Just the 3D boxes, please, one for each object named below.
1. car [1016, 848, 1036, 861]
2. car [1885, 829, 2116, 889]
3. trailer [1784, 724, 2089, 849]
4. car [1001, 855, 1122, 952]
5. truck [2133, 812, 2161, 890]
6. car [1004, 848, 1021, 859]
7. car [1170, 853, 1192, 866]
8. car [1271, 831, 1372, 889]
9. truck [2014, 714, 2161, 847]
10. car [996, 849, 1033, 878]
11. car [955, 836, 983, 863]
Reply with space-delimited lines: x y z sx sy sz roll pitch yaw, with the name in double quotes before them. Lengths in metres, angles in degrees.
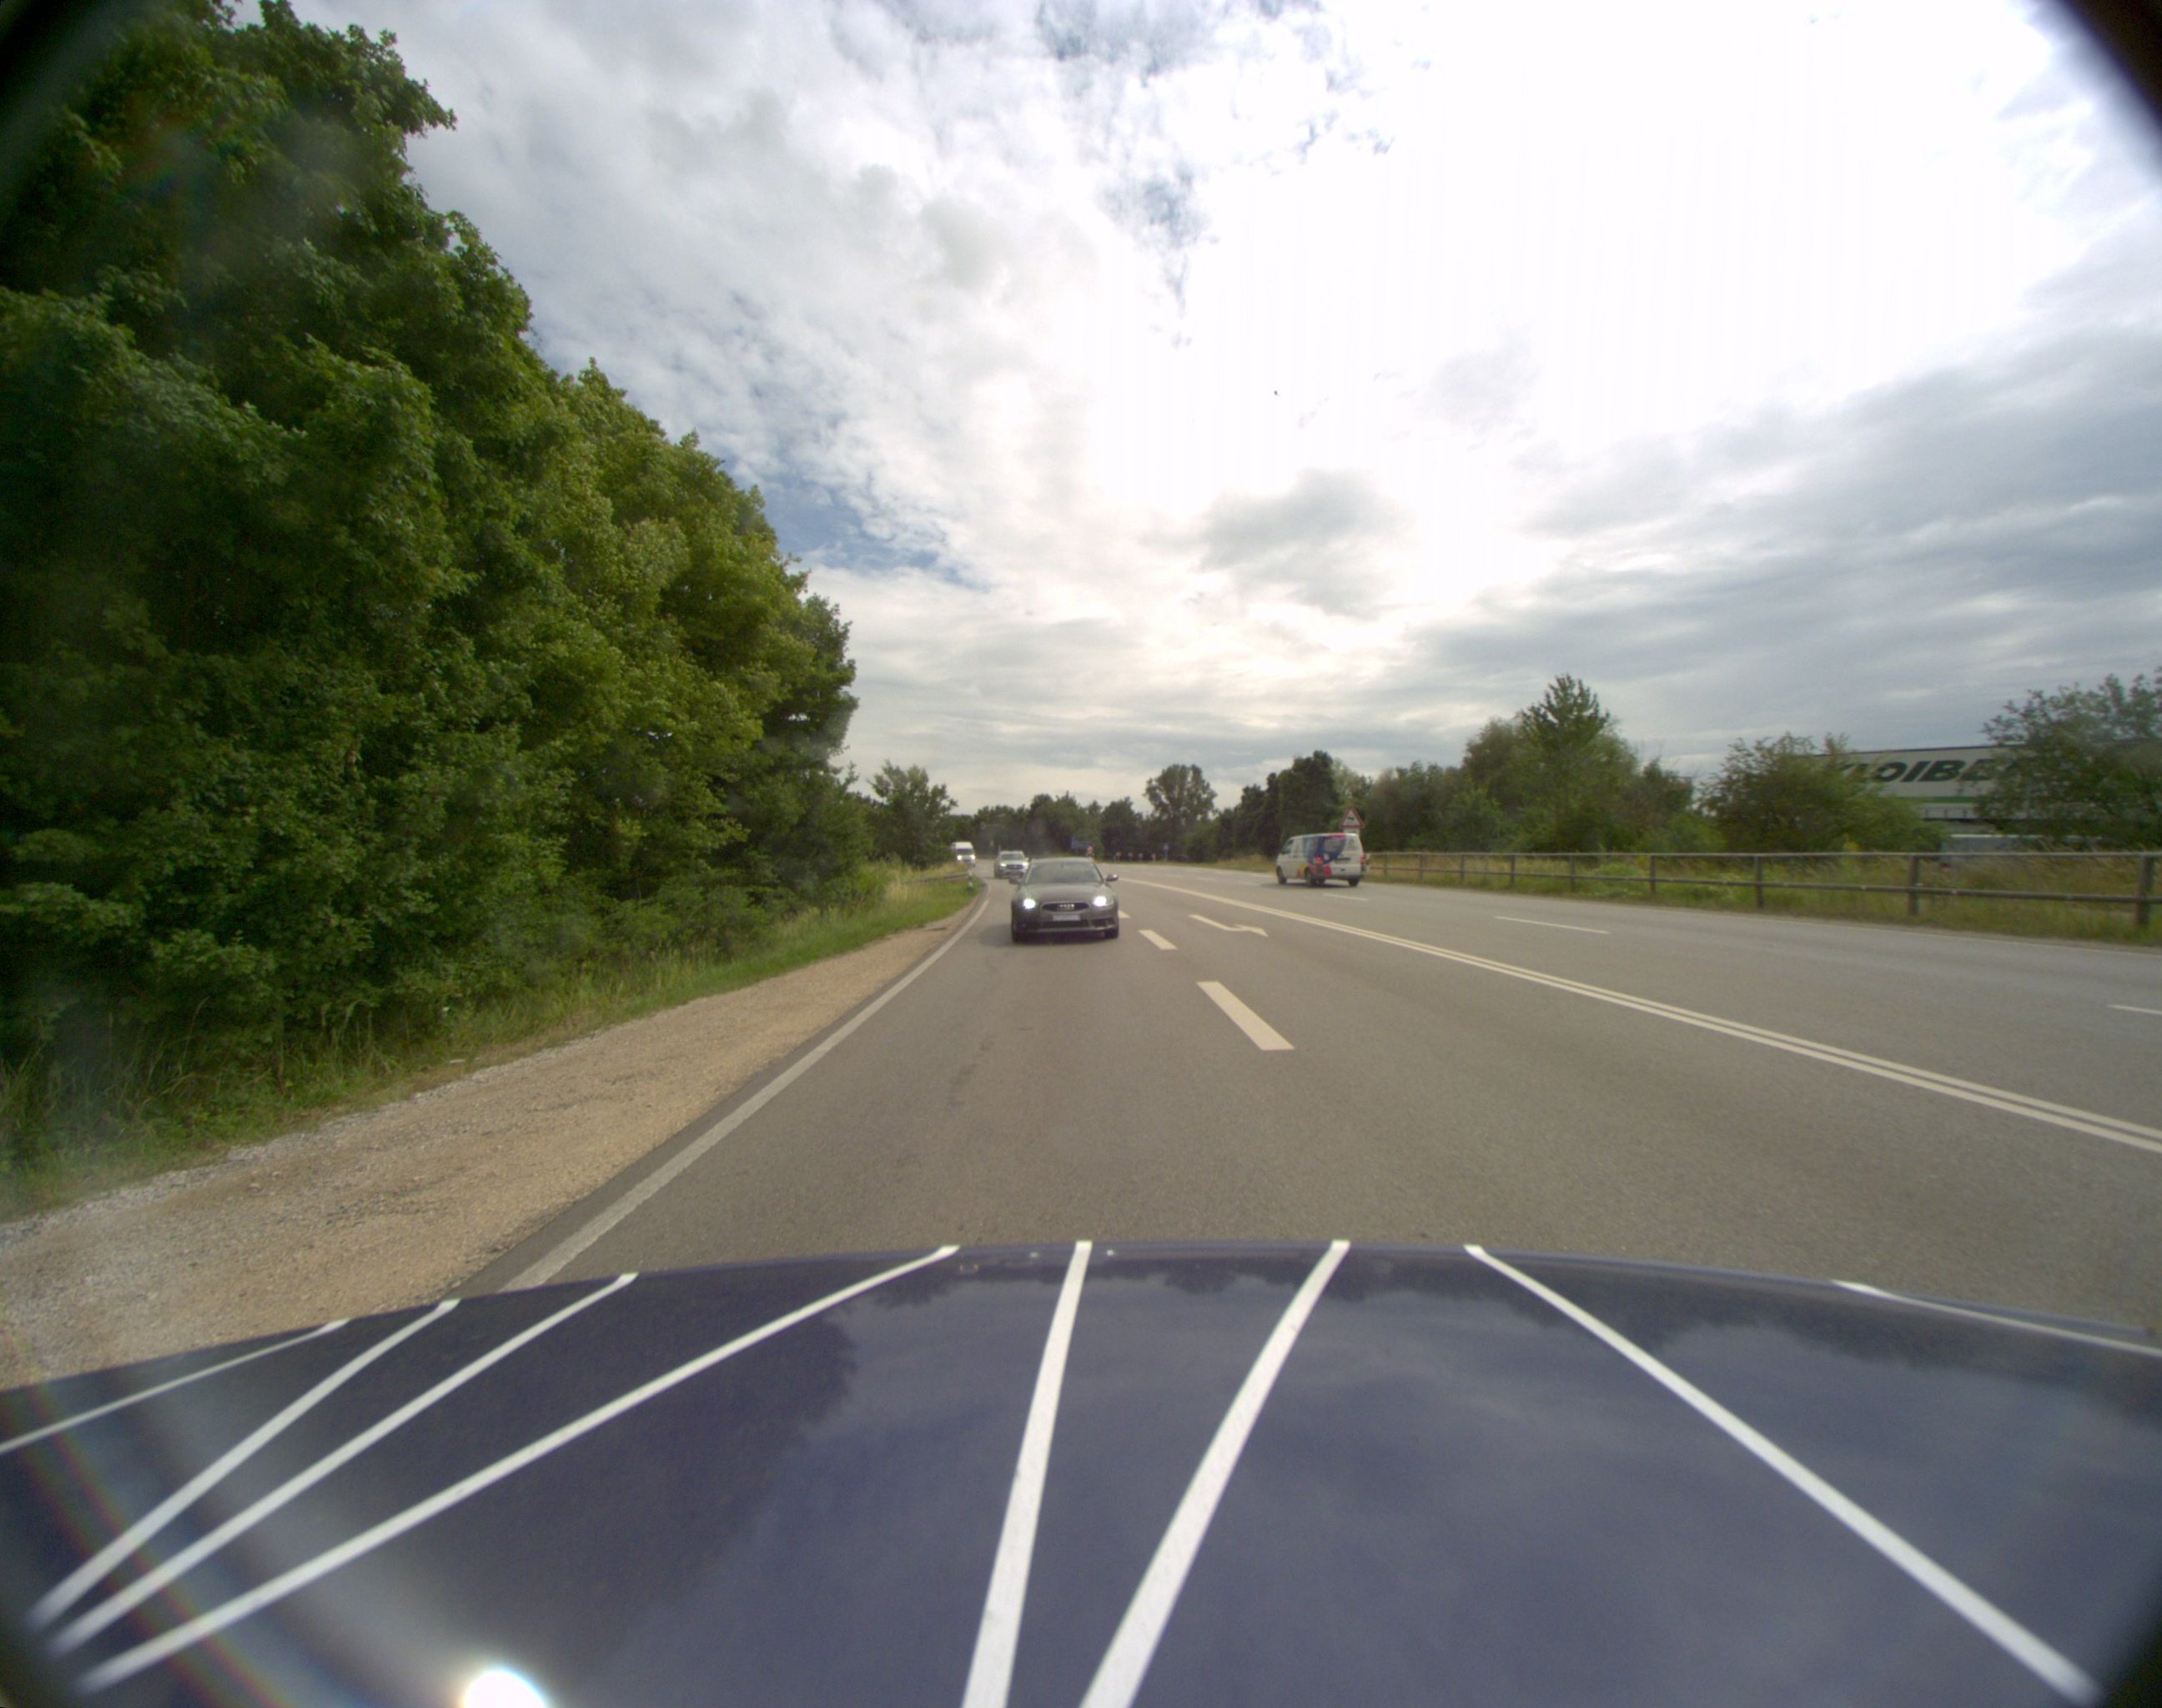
"car" -6.595 0.057 90.421 1.736 1.509 3.995 -3 1 -13
"car" 30.720 0.186 25.617 4.535 1.865 2.003 -2 1 24
"trailer" 39.105 -2.795 35.335 2.811 4.967 8.965 -3 1 -26
"car" -0.391 0.815 14.495 1.958 1.527 3.999 -2 0 -2
"truck" 61.235 -0.226 38.724 3.243 4.268 8.309 -2 0 -13
"car" -10.045 -0.114 111.696 1.883 1.480 3.739 -2 0 -15
"car" 15.344 0.863 116.544 1.995 1.787 4.327 -1 0 26
"car" 9.135 0.192 29.277 1.999 2.002 4.664 -2 0 -6
"truck" 41.862 -2.860 29.803 2.808 4.968 6.177 -3 1 -27
"car" -4.183 0.565 47.538 2.022 1.603 4.277 -2 0 -8
"car" -12.211 -0.417 82.639 2.221 2.654 5.234 -3 0 -15
